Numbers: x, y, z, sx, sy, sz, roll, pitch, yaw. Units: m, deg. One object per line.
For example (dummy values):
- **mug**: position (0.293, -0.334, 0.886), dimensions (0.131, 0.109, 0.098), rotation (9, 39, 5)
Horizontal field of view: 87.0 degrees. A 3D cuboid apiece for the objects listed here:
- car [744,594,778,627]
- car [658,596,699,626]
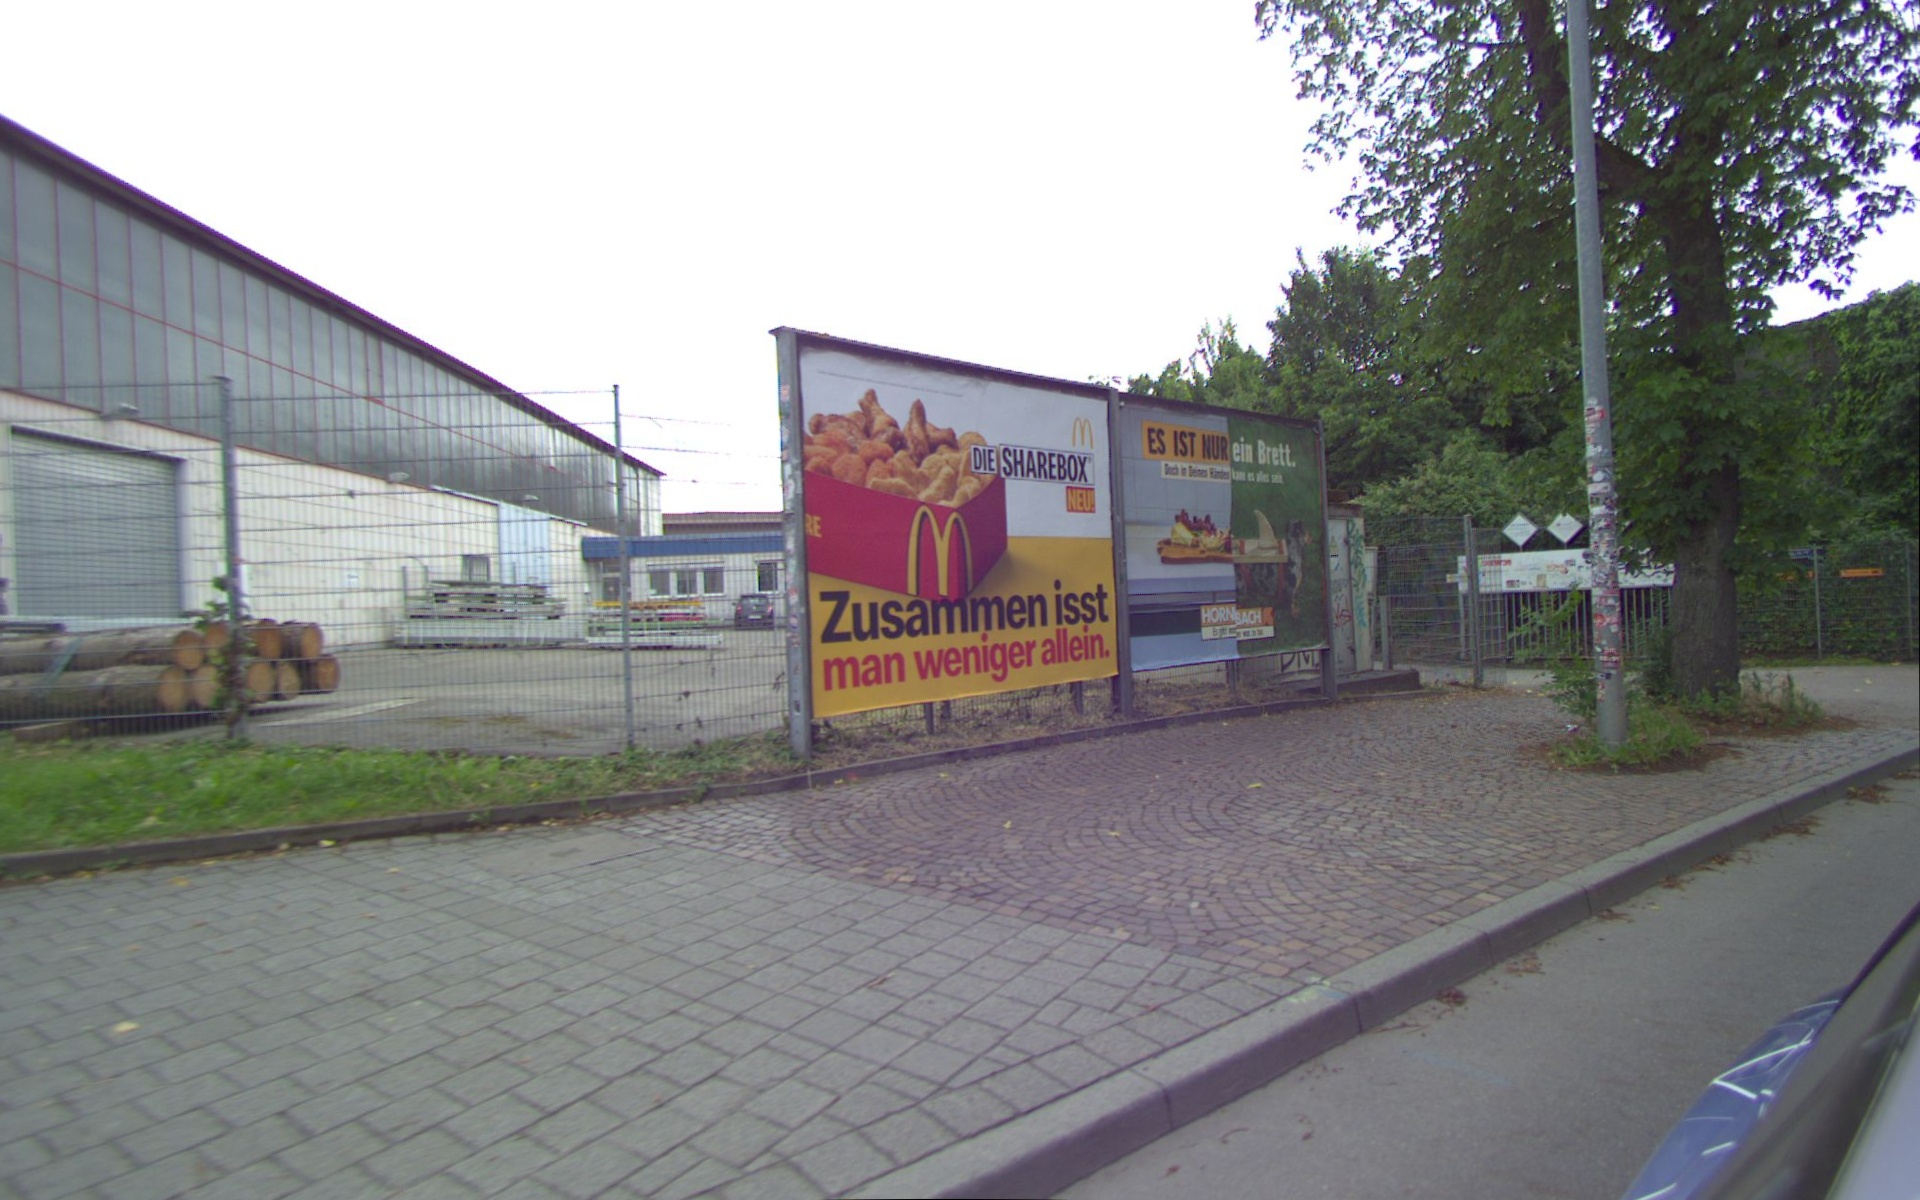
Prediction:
- **car**: position (-8.396, 0.411, 42.815), dimensions (1.310, 1.348, 3.316), rotation (0, 0, -9)
- **car**: position (-11.878, 0.459, 42.812), dimensions (1.310, 1.224, 3.316), rotation (0, 0, -9)
